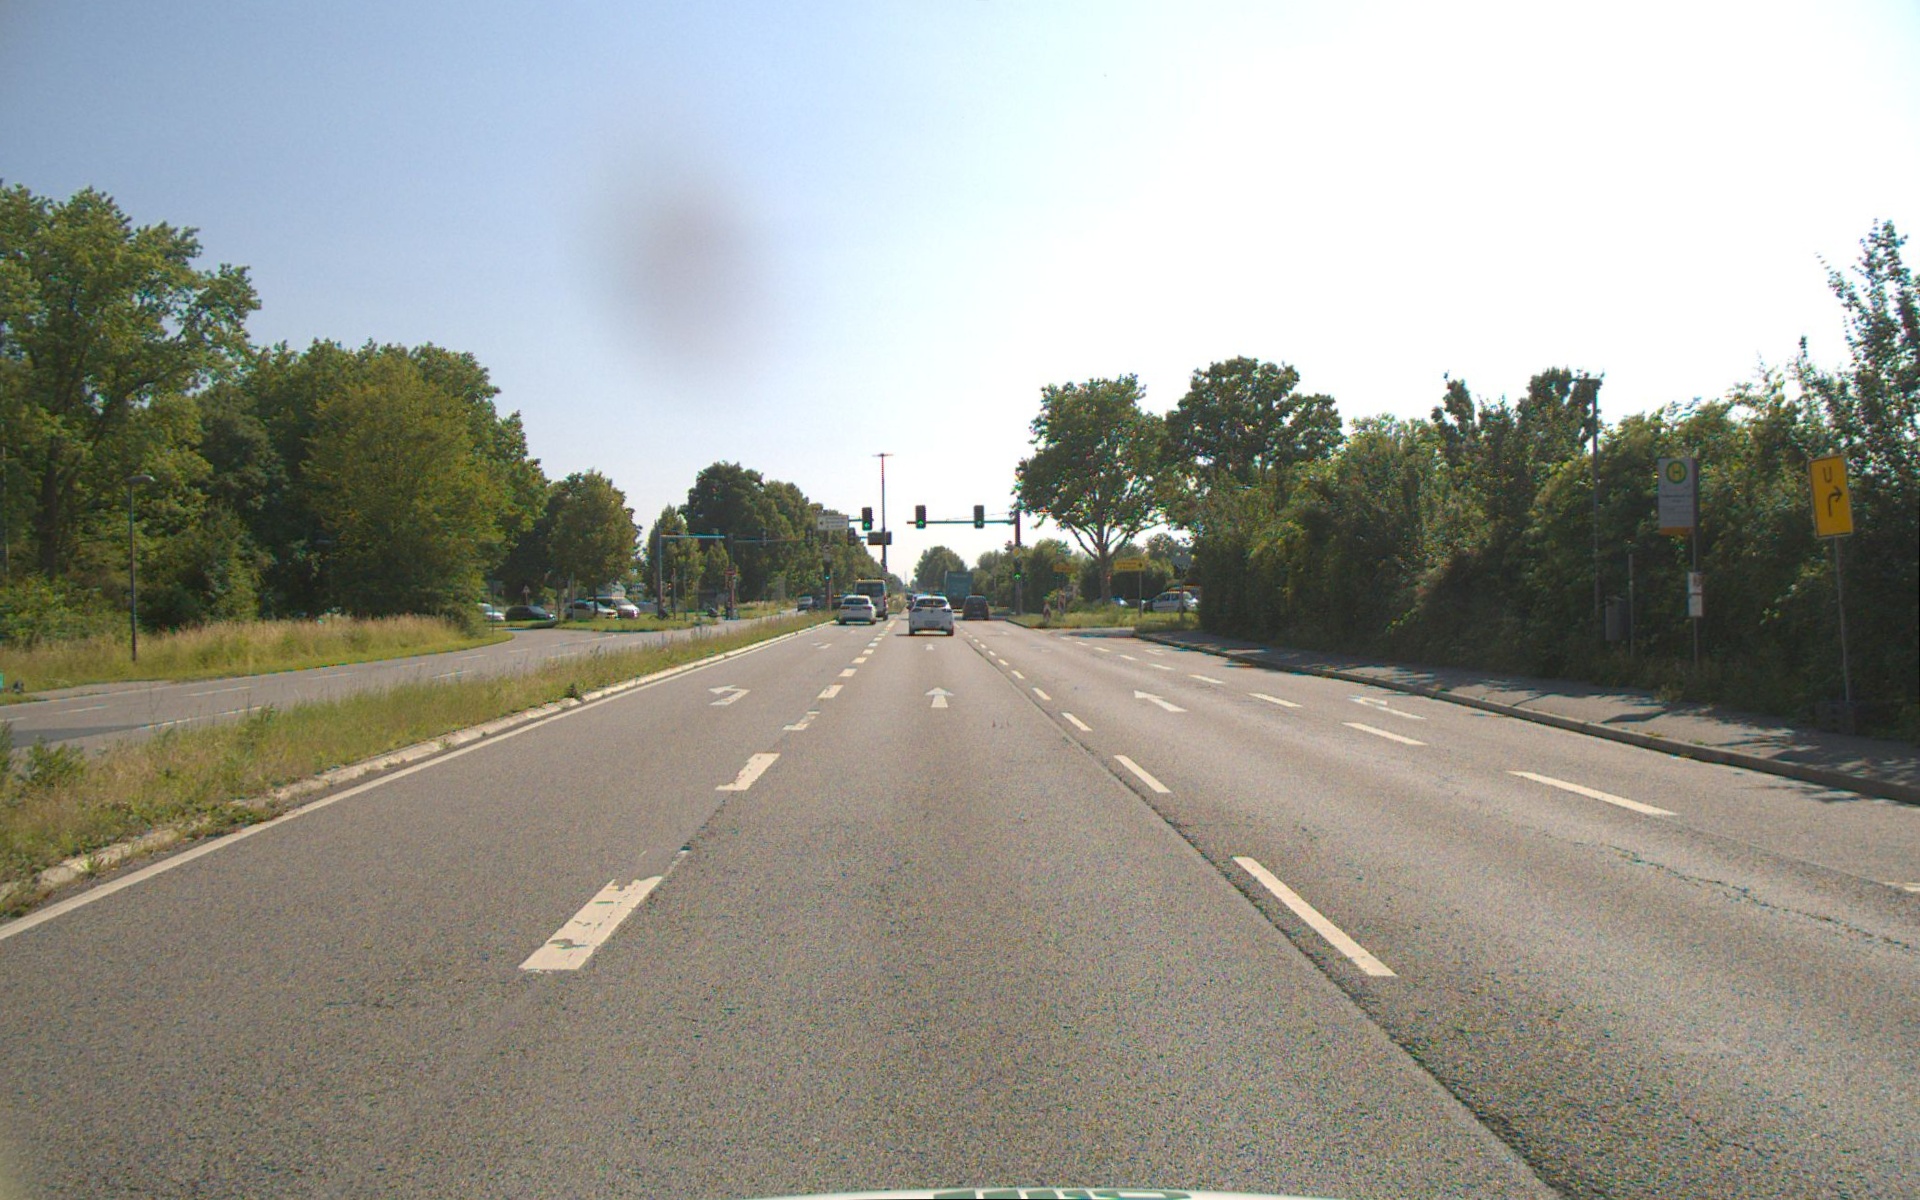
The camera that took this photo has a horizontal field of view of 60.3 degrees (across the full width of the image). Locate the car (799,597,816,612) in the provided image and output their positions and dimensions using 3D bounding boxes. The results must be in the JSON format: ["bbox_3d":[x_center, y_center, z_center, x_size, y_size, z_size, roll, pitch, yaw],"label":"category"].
[{"bbox_3d":[-15.990,0.483,172.990,1.456,1.439,3.761,-3,0,-1],"label":"car"}]

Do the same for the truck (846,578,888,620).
[{"bbox_3d":[-5.483,-0.075,97.875,2.326,2.431,6.038,0,0,-2],"label":"truck"}]

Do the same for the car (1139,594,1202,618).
[{"bbox_3d":[13.441,0.404,105.510,3.667,1.495,1.785,0,-1,23],"label":"car"}]

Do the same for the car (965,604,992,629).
[{"bbox_3d":[1.129,1.014,101.358,1.540,1.439,3.276,1,-1,-1],"label":"car"}]

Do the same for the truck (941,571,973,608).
[{"bbox_3d":[-0.328,-0.982,158.808,2.833,3.488,9.166,0,0,-1],"label":"truck"}]

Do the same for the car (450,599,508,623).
[{"bbox_3d":[-37.688,0.854,129.526,4.414,1.832,1.999,-1,0,34],"label":"car"}]

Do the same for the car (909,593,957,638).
[{"bbox_3d":[-1.015,0.561,62.766,1.762,1.580,3.999,1,0,-1],"label":"car"}]

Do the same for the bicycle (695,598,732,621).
[{"bbox_3d":[-19.317,0.750,129.724,2.737,1.699,1.135,-1,0,26],"label":"bicycle"}]

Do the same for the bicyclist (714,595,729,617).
[{"bbox_3d":[-18.673,0.468,129.447,0.845,1.647,0.757,0,-1,26],"label":"bicyclist"}]

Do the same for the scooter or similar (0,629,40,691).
[{"bbox_3d":[-19.115,1.200,33.376,0.360,1.206,1.340,-2,-1,-1],"label":"scooter or similar"}]

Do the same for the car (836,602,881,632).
[{"bbox_3d":[-5.178,0.849,84.844,1.775,1.490,4.972,0,0,2],"label":"car"}]

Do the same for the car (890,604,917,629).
[{"bbox_3d":[-3.408,0.984,100.223,1.540,1.439,3.276,0,0,-1],"label":"car"}]

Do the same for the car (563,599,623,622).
[{"bbox_3d":[-27.142,0.747,122.393,4.179,1.634,1.999,-1,0,34],"label":"car"}]

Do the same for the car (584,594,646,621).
[{"bbox_3d":[-26.284,0.559,125.887,4.559,1.984,1.994,-1,0,34],"label":"car"}]

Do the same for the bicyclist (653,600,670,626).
[{"bbox_3d":[-17.913,0.775,99.310,0.829,1.544,0.747,0,0,4],"label":"bicyclist"}]

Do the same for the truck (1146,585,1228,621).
[{"bbox_3d":[16.669,0.238,121.751,2.317,2.428,6.398,3,-2,-34],"label":"truck"}]
